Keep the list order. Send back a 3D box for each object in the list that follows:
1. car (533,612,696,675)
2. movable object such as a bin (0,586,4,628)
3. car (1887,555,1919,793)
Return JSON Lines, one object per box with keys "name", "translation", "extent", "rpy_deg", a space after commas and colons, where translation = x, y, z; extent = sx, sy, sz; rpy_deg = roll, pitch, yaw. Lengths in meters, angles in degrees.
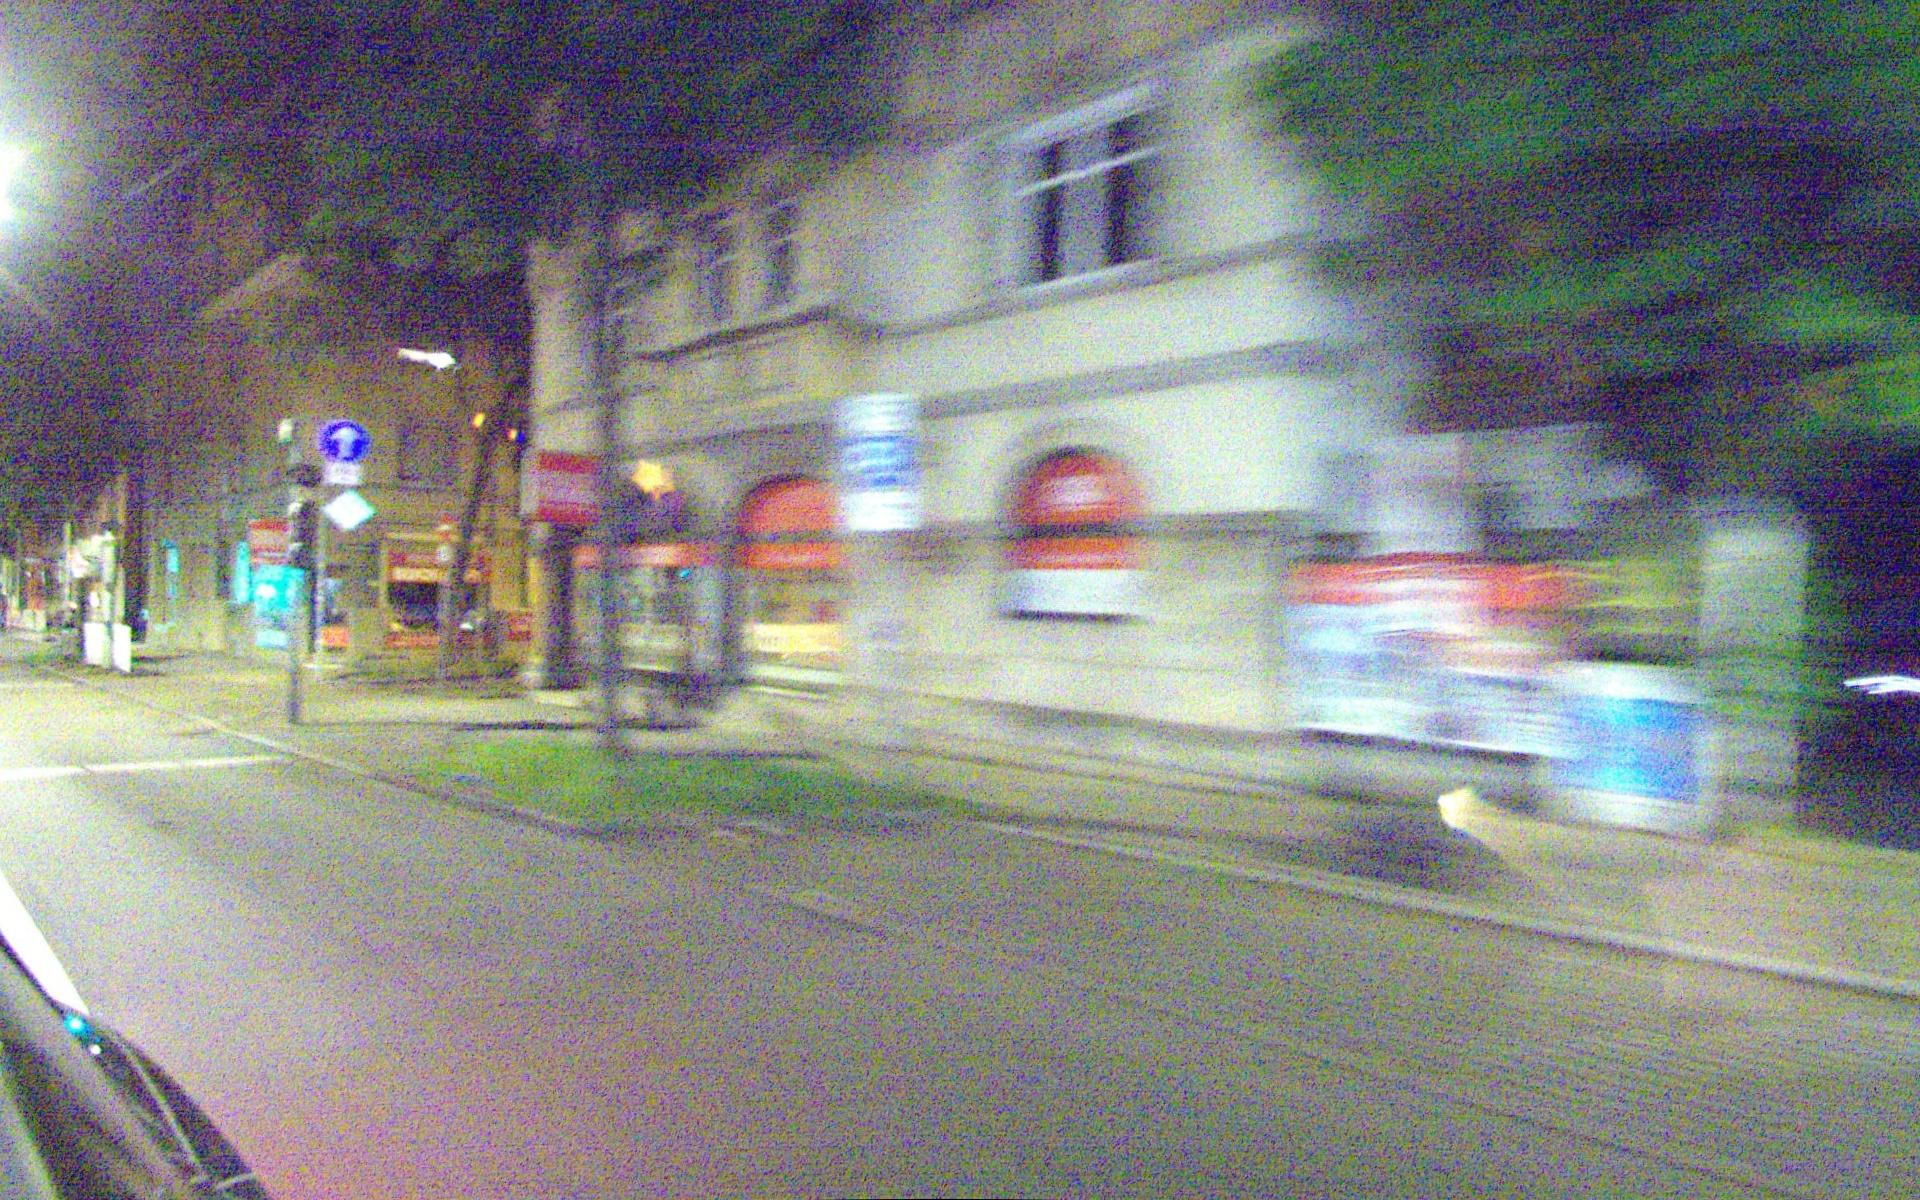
{"name": "car", "translation": [-9.215, 1.130, 27.183], "extent": [1.871, 1.567, 3.709], "rpy_deg": [-1, -1, 42]}
{"name": "movable object such as a bin", "translation": [-62.575, 0.427, 64.847], "extent": [3.909, 2.646, 1.554], "rpy_deg": [0, -2, 43]}
{"name": "car", "translation": [9.366, 0.547, 8.858], "extent": [1.788, 1.817, 4.444], "rpy_deg": [-1, 0, 42]}
